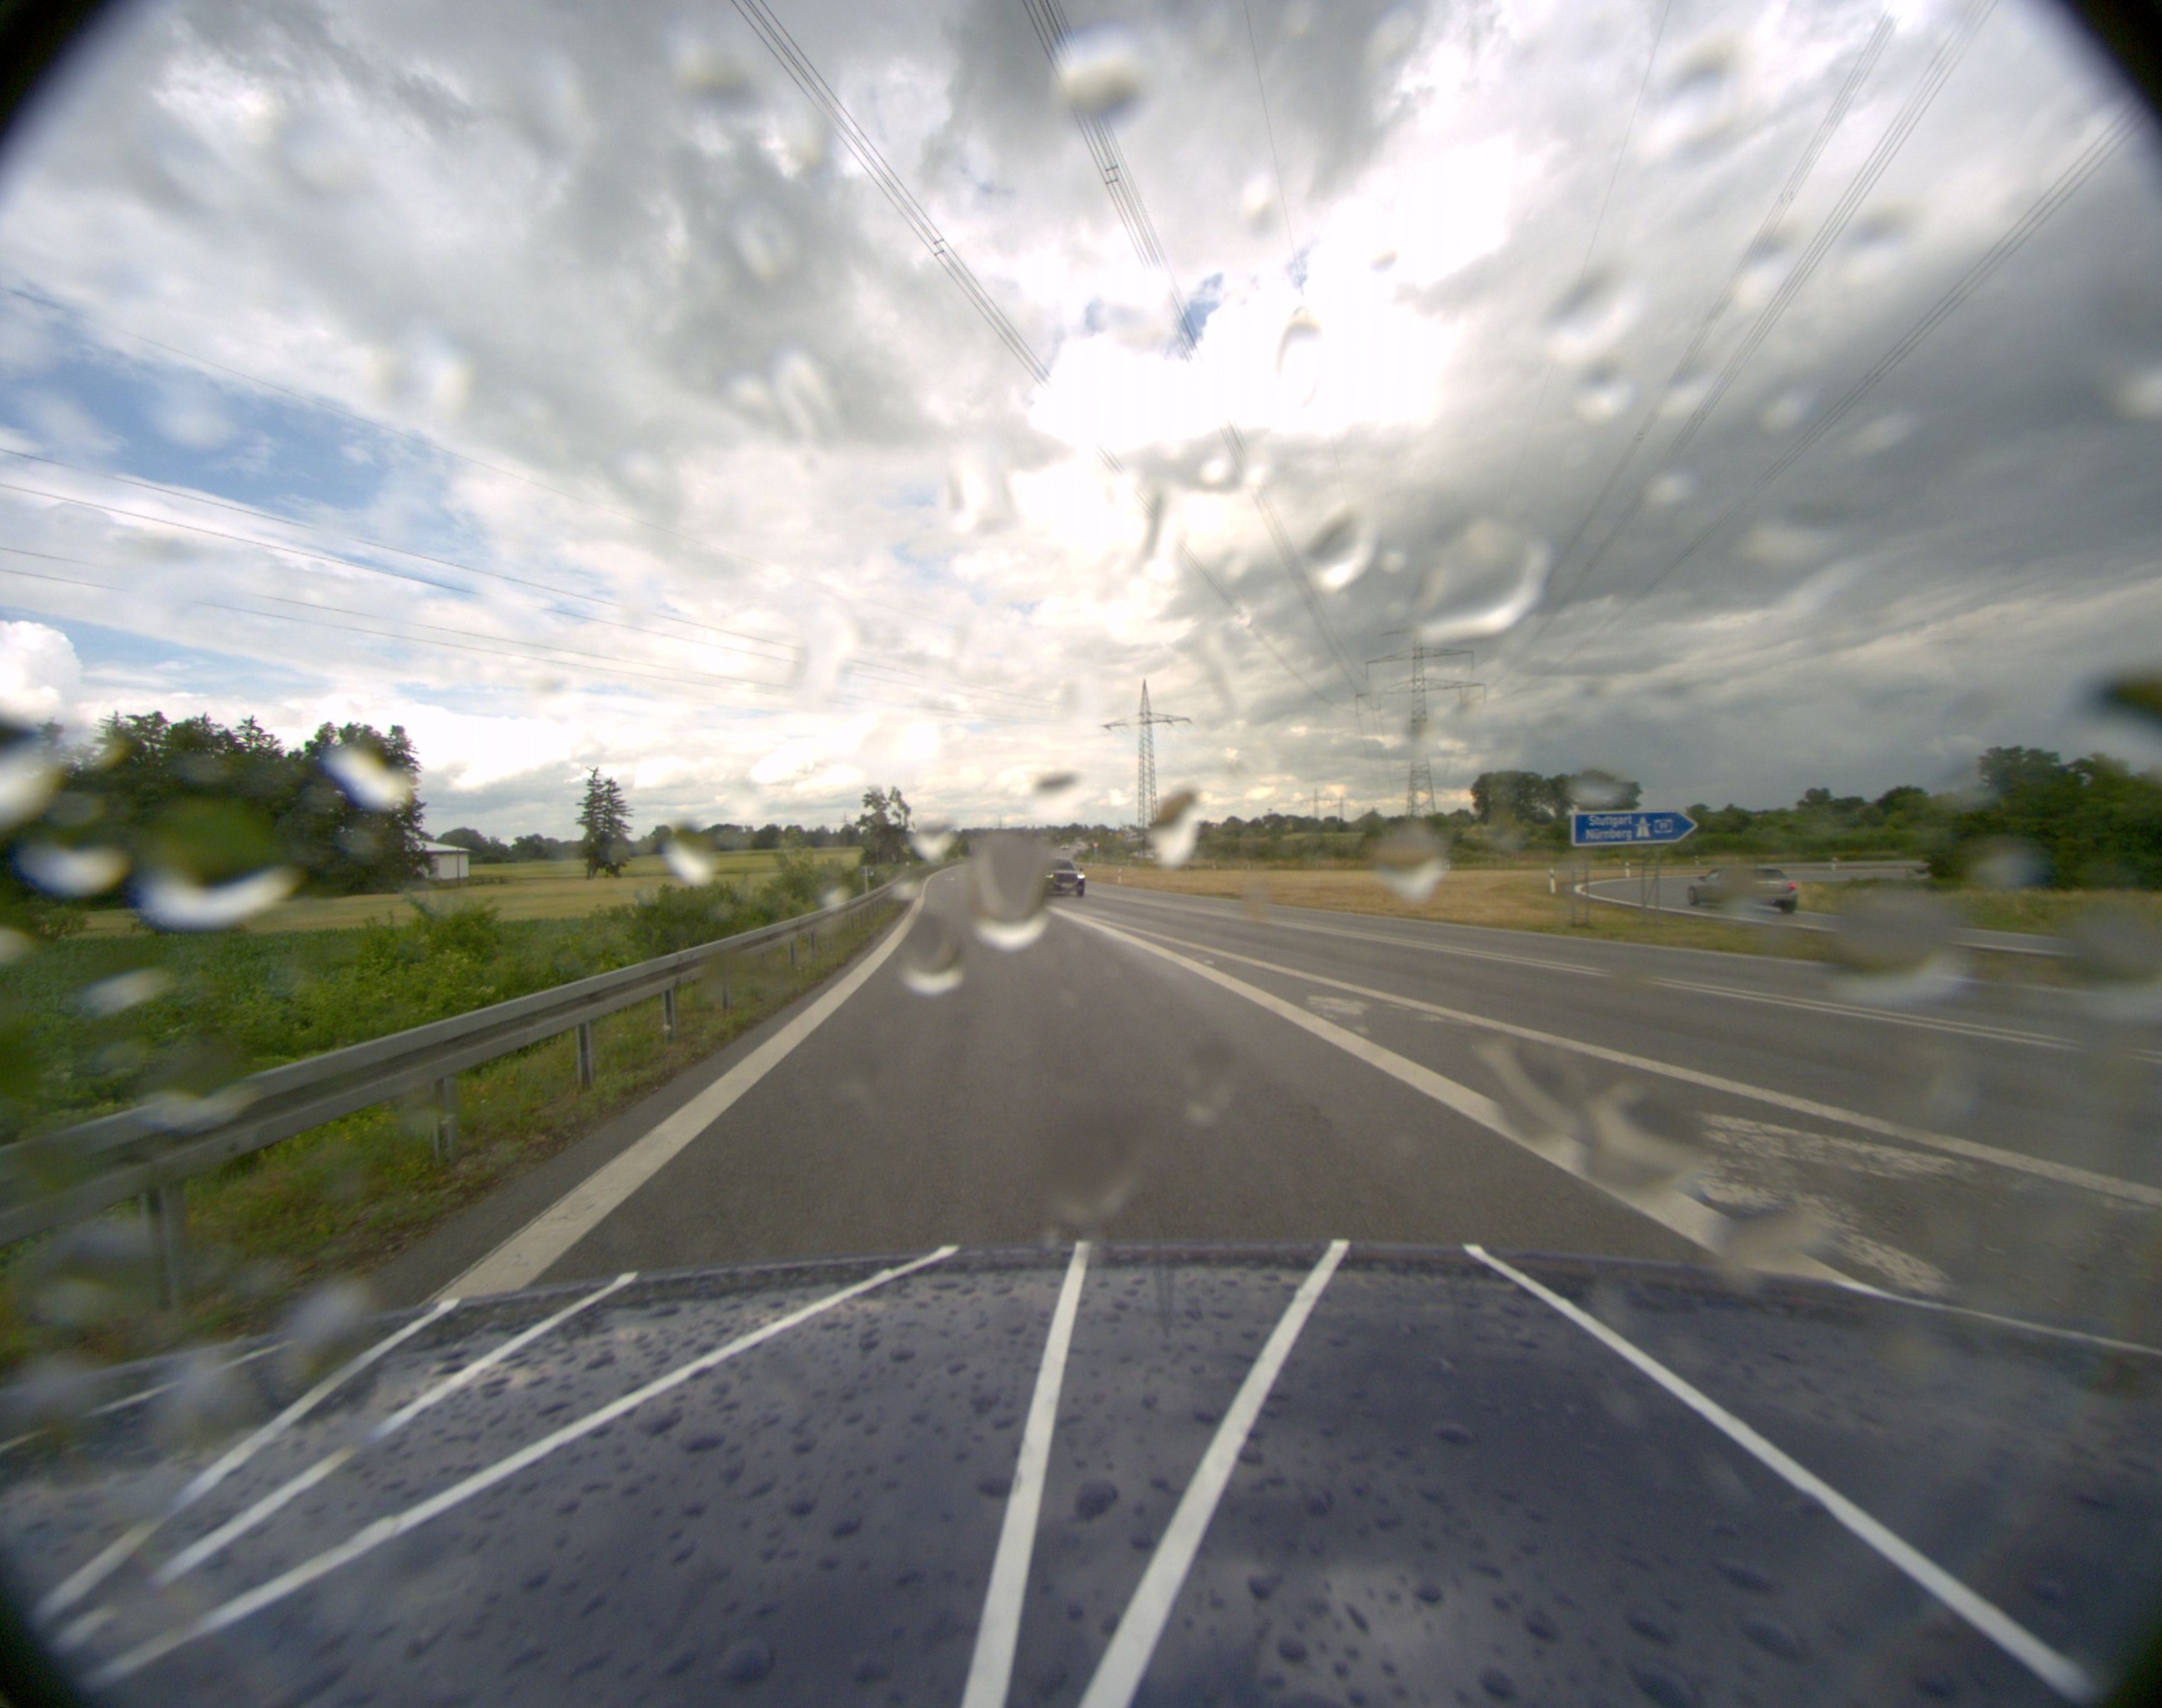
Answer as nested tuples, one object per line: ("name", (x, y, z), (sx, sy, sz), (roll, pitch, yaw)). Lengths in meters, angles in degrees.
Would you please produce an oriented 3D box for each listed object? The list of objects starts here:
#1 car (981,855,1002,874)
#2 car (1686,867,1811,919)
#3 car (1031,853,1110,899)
("car", (-9.032, 1.062, 77.015), (2.000, 1.742, 3.997), (-3, 1, -7))
("car", (21.698, 1.206, 24.902), (1.738, 1.430, 3.777), (1, 1, 19))
("car", (-0.525, 0.830, 31.140), (2.001, 1.710, 4.587), (0, 0, -17))
